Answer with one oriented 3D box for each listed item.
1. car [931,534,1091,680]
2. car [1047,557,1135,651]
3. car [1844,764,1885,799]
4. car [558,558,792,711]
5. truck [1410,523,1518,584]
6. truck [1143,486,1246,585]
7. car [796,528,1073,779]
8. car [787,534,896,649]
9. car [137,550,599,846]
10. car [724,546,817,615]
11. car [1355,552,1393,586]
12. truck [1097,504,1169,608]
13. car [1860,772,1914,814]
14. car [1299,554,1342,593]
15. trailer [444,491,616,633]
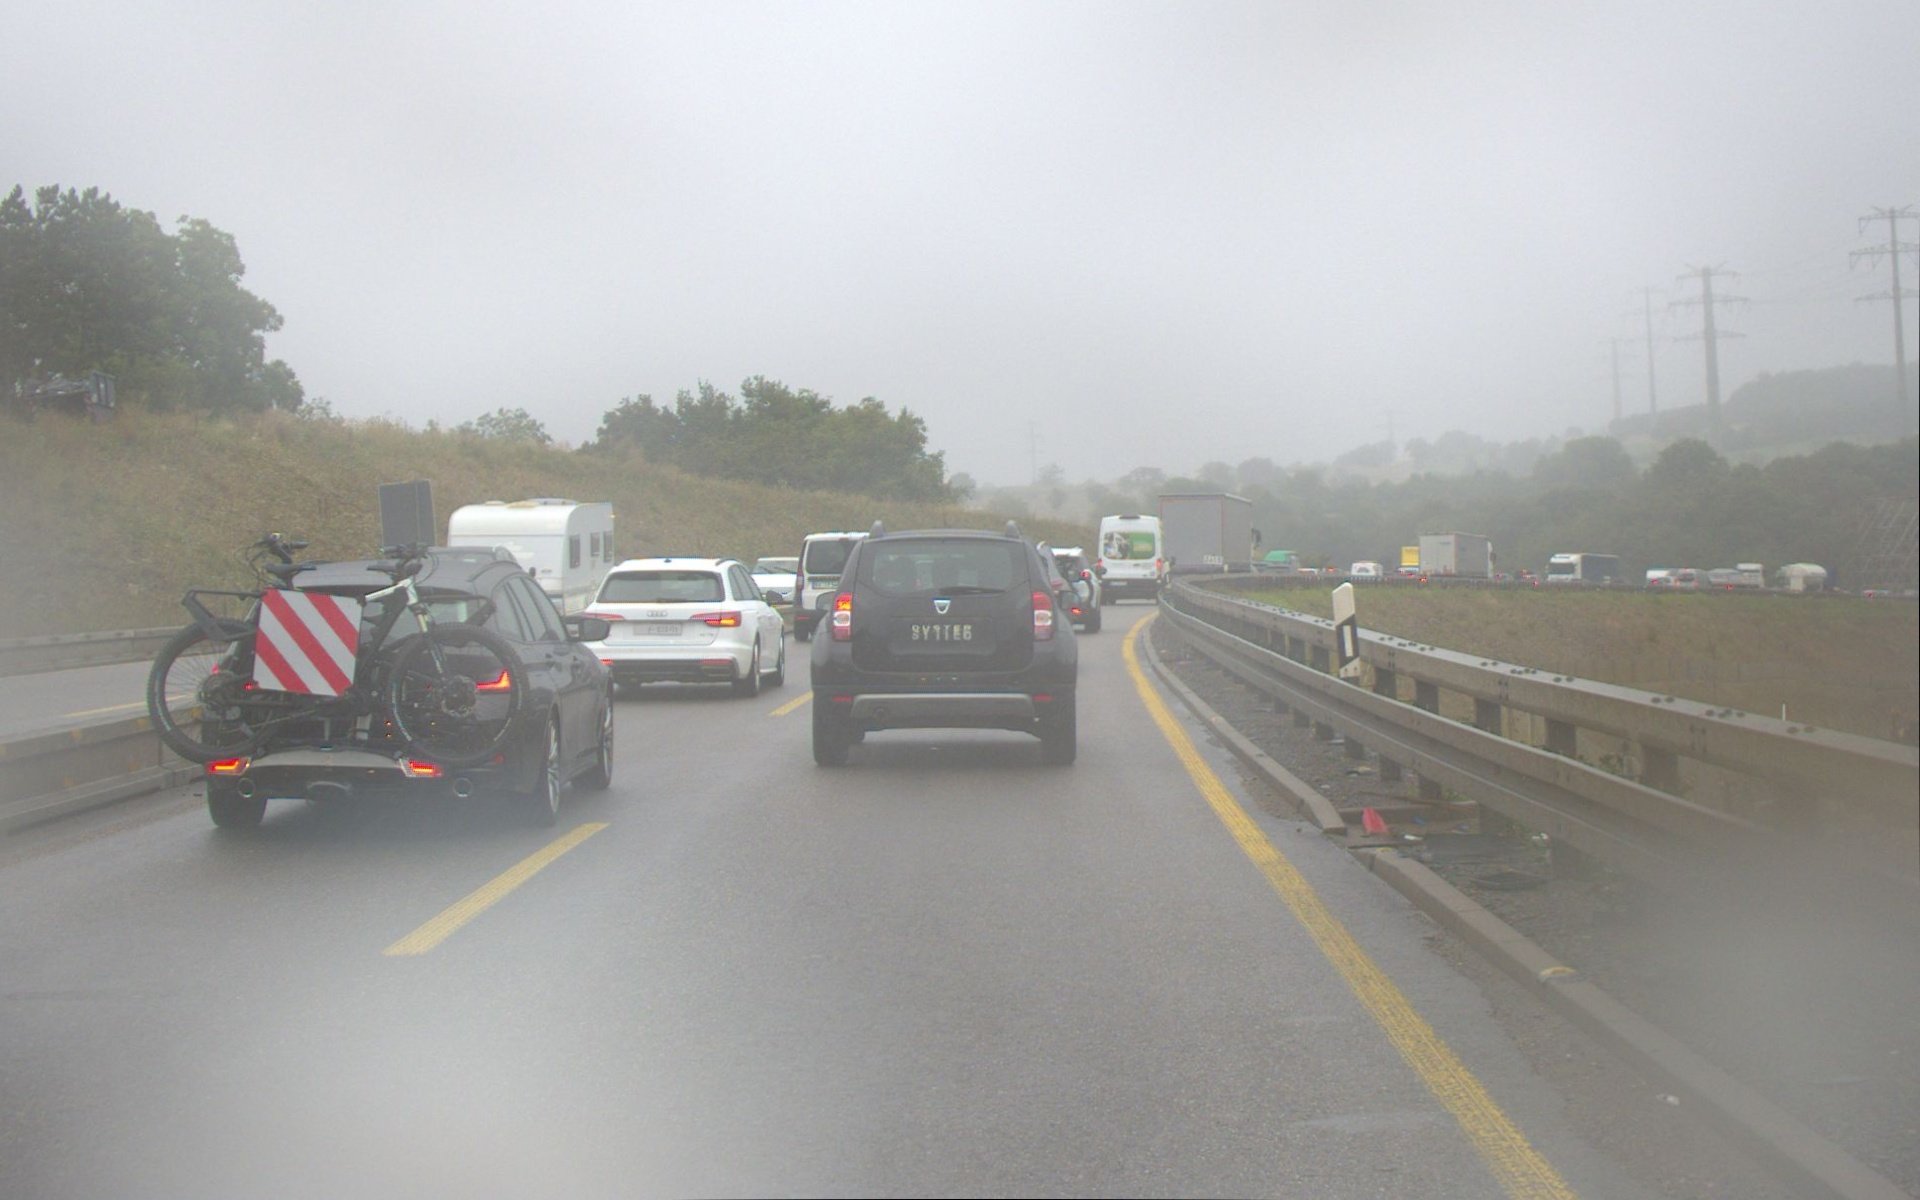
[{"bbox_3d":[0.620,0.061,42.503,1.867,1.703,4.000,1,1,1],"label":"car"},{"bbox_3d":[2.369,0.050,62.925,1.530,1.635,4.013,1,1,1],"label":"car"},{"bbox_3d":[54.116,10.851,205.734,1.994,1.809,3.998,0,0,10],"label":"car"},{"bbox_3d":[-2.878,0.306,35.637,1.868,1.455,4.548,1,1,2],"label":"car"},{"bbox_3d":[35.477,-3.212,241.180,4.722,4.135,15.668,1,1,19],"label":"truck"},{"bbox_3d":[9.298,-2.497,135.574,3.202,3.748,8.506,1,1,9],"label":"truck"},{"bbox_3d":[-0.110,0.338,24.322,1.804,1.640,3.776,0,0,2],"label":"car"},{"bbox_3d":[-2.000,-0.164,59.118,1.660,1.873,4.020,1,1,1],"label":"car"},{"bbox_3d":[-3.157,0.478,19.063,1.829,1.471,3.776,0,0,1],"label":"car"},{"bbox_3d":[-4.497,-0.491,82.120,1.877,1.495,4.335,1,2,1],"label":"car"},{"bbox_3d":[23.316,-1.749,193.564,1.776,1.909,3.998,1,1,11],"label":"car"},{"bbox_3d":[5.442,-1.374,108.620,2.149,3.155,6.459,1,1,3],"label":"truck"},{"bbox_3d":[51.100,10.628,189.530,2.366,2.007,3.999,1,1,8],"label":"car"},{"bbox_3d":[18.121,-1.348,172.753,1.776,1.909,3.998,1,1,11],"label":"car"},{"bbox_3d":[-8.204,-0.759,66.258,2.510,2.556,7.163,1,1,-1],"label":"trailer"}]
